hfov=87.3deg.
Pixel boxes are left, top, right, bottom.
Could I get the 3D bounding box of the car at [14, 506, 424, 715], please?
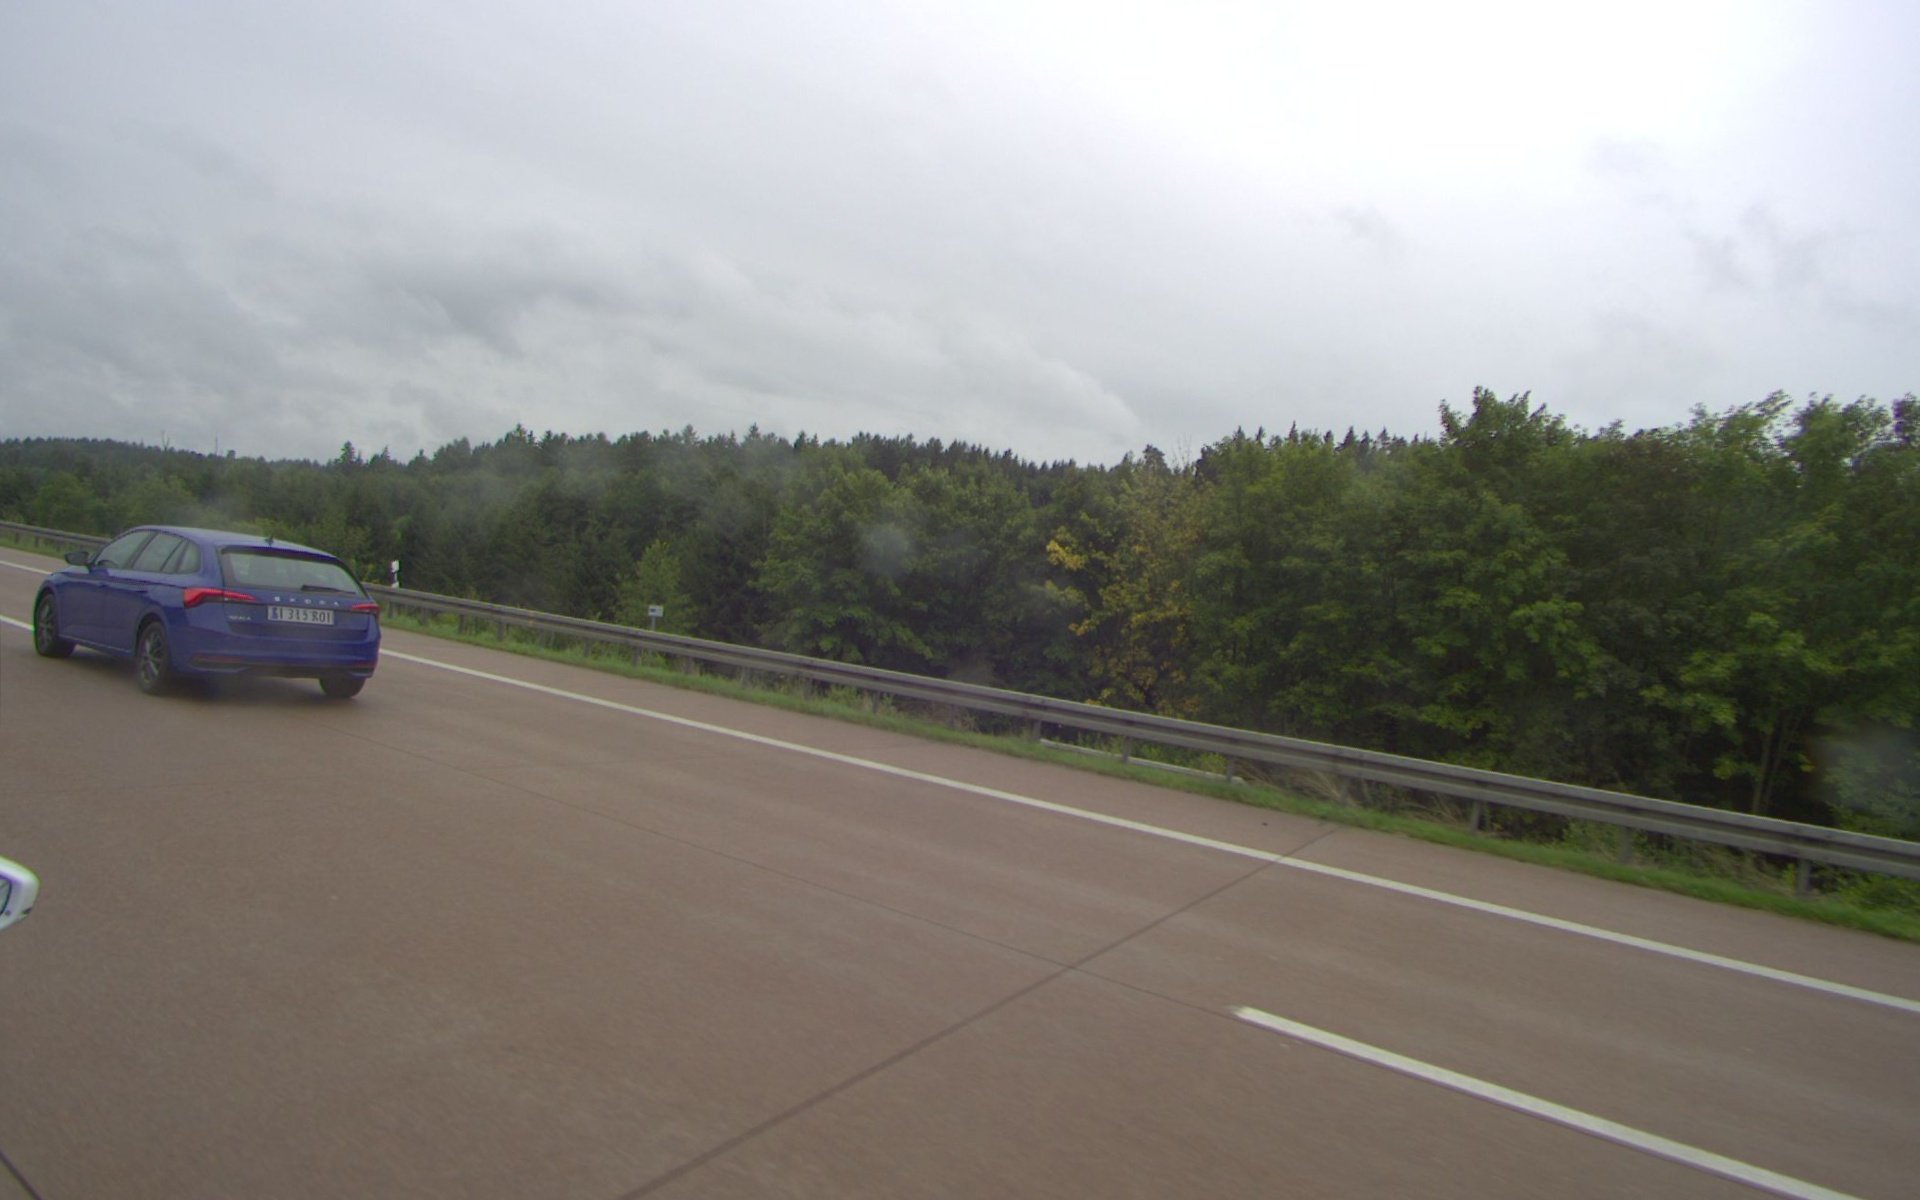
[{"bbox_3d":[-7.401,0.068,9.958,4.079,1.582,1.774,5,-3,32],"label":"car"}]
